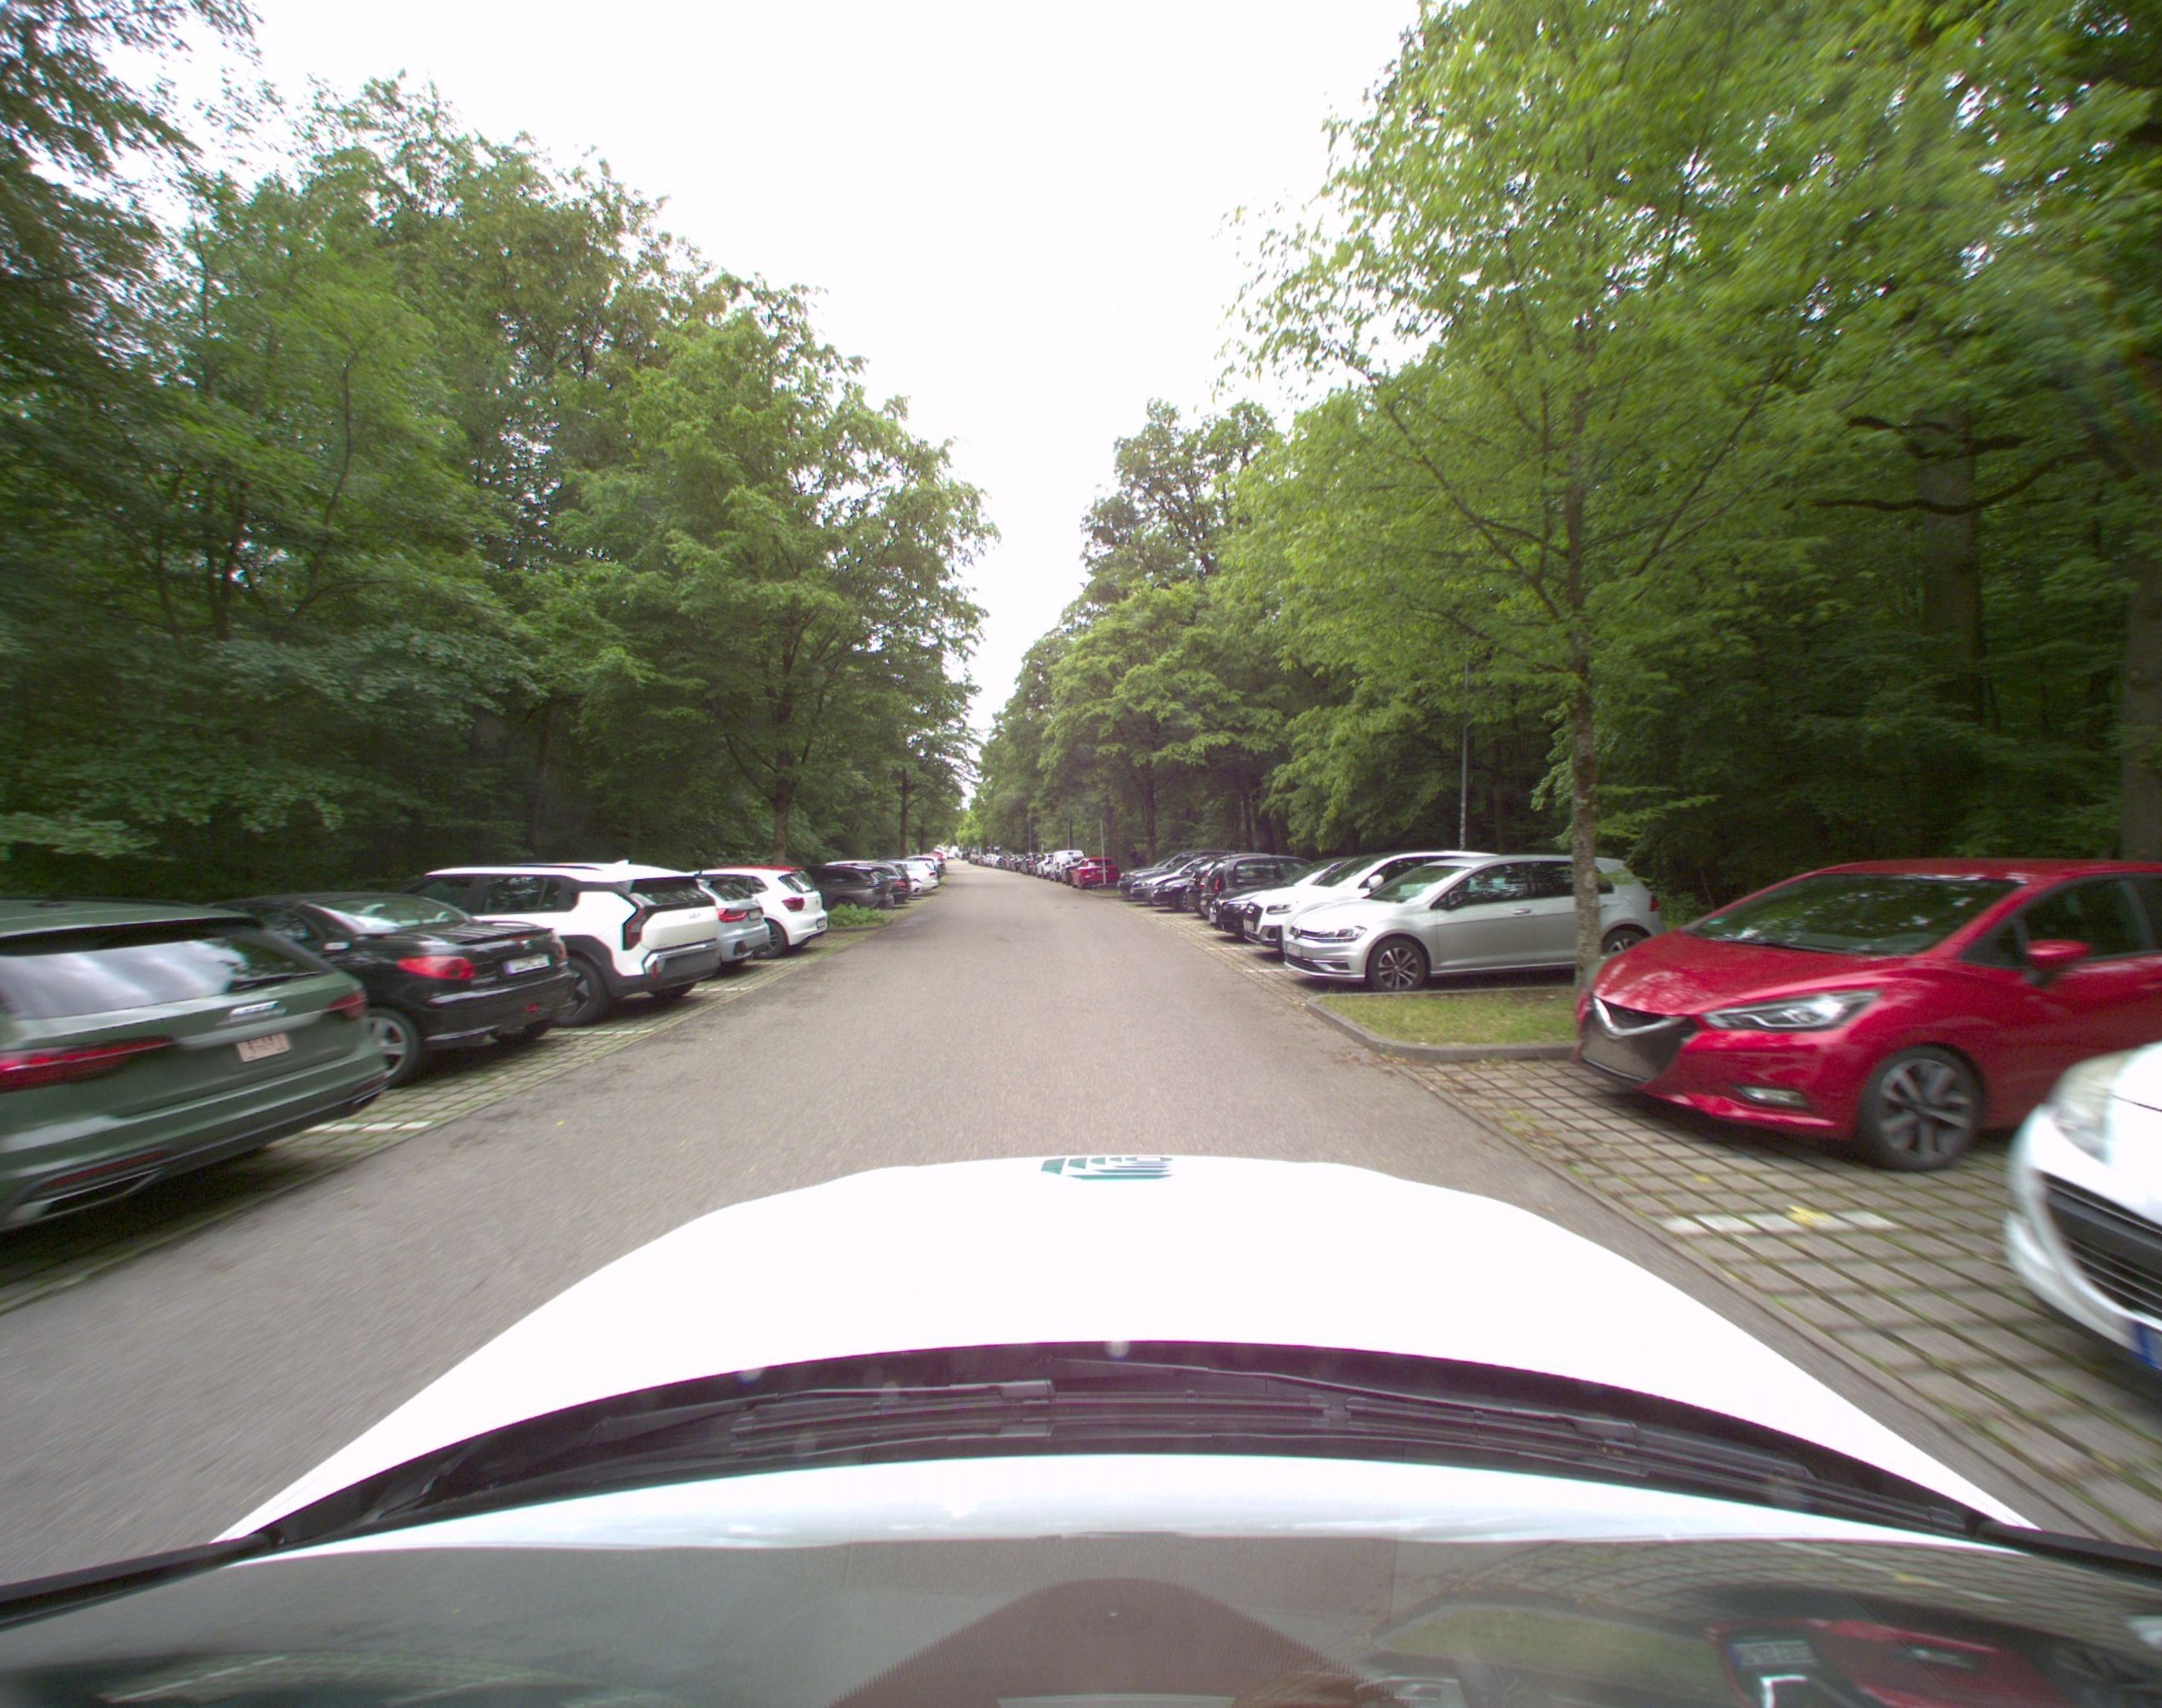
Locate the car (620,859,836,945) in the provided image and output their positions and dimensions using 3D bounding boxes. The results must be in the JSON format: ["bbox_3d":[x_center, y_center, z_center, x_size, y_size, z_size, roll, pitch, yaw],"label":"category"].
[{"bbox_3d":[-6.814,0.893,15.995,3.457,1.481,1.682,-2,0,-4],"label":"car"}]

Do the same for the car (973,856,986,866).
[{"bbox_3d":[-16.127,1.040,129.589,1.921,1.520,3.874,-1,0,-10],"label":"car"}]

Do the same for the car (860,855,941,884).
[{"bbox_3d":[-10.541,0.897,47.969,4.514,1.584,1.921,-1,0,-10],"label":"car"}]

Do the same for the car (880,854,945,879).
[{"bbox_3d":[-11.379,0.846,55.357,4.223,1.633,2.023,0,0,-9],"label":"car"}]

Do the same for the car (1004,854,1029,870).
[{"bbox_3d":[-6.537,0.829,81.911,1.979,1.537,4.604,-1,0,-11],"label":"car"}]

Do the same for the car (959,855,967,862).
[{"bbox_3d":[-26.554,1.022,183.330,1.629,1.415,3.398,0,3,-11],"label":"car"}]

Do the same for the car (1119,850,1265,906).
[{"bbox_3d":[3.332,0.687,24.842,3.989,1.551,1.968,-1,0,-11],"label":"car"}]

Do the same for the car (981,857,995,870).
[{"bbox_3d":[-12.610,1.259,110.360,1.711,1.728,3.986,-1,0,-10],"label":"car"}]

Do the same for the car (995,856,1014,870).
[{"bbox_3d":[-8.676,1.014,92.359,1.668,1.444,3.796,-1,0,-13],"label":"car"}]

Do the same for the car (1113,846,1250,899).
[{"bbox_3d":[3.314,0.597,27.339,4.260,1.666,1.954,-1,0,-6],"label":"car"}]

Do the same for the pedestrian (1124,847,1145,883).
[{"bbox_3d":[2.597,0.517,39.519,0.817,1.726,1.001,0,0,-8],"label":"pedestrian"}]

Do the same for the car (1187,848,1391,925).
[{"bbox_3d":[4.324,0.658,17.311,3.819,1.457,1.806,-1,0,-4],"label":"car"}]

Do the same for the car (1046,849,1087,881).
[{"bbox_3d":[-0.913,0.608,48.222,1.744,1.780,4.536,-1,0,-10],"label":"car"}]

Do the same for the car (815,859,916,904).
[{"bbox_3d":[-7.463,0.920,28.513,3.217,1.444,1.675,-1,0,-9],"label":"car"}]

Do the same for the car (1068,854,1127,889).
[{"bbox_3d":[0.675,0.732,37.407,1.992,1.479,4.958,-1,0,-8],"label":"car"}]

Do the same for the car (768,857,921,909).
[{"bbox_3d":[-7.387,0.893,25.808,4.258,1.486,2.054,-1,0,-5],"label":"car"}]

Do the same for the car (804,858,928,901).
[{"bbox_3d":[-8.044,0.935,30.859,4.366,1.486,1.885,-1,-1,-11],"label":"car"}]

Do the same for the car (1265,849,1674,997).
[{"bbox_3d":[4.385,0.711,9.581,3.970,1.483,1.880,-1,1,-6],"label":"car"}]

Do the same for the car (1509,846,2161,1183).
[{"bbox_3d":[4.869,0.695,4.840,3.794,1.441,1.864,-1,1,-10],"label":"car"}]

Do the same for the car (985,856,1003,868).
[{"bbox_3d":[-11.222,1.005,104.939,1.725,1.494,3.754,-1,0,-16],"label":"car"}]

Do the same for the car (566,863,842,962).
[{"bbox_3d":[-6.165,0.927,13.700,3.718,1.419,1.870,-2,0,-3],"label":"car"}]

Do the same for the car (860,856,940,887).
[{"bbox_3d":[-9.498,0.897,43.079,4.035,1.555,1.913,-1,0,-11],"label":"car"}]

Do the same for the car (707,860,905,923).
[{"bbox_3d":[-6.887,0.908,20.822,4.396,1.424,2.032,-1,0,-4],"label":"car"}]

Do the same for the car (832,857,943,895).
[{"bbox_3d":[-8.450,0.936,35.891,4.560,1.486,1.864,-1,0,-8],"label":"car"}]

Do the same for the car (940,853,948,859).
[{"bbox_3d":[-30.247,0.505,180.003,1.738,1.162,3.401,0,3,-9],"label":"car"}]

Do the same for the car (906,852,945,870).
[{"bbox_3d":[-16.736,0.763,87.424,3.992,1.816,2.105,-1,0,-14],"label":"car"}]

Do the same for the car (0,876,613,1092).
[{"bbox_3d":[-6.194,0.930,6.554,3.780,1.356,1.728,-2,0,-2],"label":"car"}]

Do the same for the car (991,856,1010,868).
[{"bbox_3d":[-9.815,0.983,99.432,1.938,1.475,3.976,-1,0,-12],"label":"car"}]

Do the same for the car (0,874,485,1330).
[{"bbox_3d":[-5.856,0.918,3.726,4.626,1.478,2.094,-2,0,-1],"label":"car"}]

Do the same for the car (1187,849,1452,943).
[{"bbox_3d":[4.171,0.686,14.643,4.181,1.511,1.890,-1,1,-6],"label":"car"}]

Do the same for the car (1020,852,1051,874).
[{"bbox_3d":[-3.725,0.698,65.737,1.890,1.747,4.931,-1,0,-10],"label":"car"}]

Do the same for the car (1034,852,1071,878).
[{"bbox_3d":[-1.963,0.705,54.323,1.786,1.662,4.700,-1,0,-11],"label":"car"}]

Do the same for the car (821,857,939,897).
[{"bbox_3d":[-8.194,0.907,33.564,4.565,1.447,2.077,-1,0,-12],"label":"car"}]

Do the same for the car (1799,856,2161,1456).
[{"bbox_3d":[4.546,0.716,2.034,3.921,1.411,1.877,-1,1,-1],"label":"car"}]

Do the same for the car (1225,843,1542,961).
[{"bbox_3d":[4.324,0.641,12.117,3.997,1.559,1.977,-1,1,-1],"label":"car"}]

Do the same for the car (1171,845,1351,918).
[{"bbox_3d":[4.240,0.618,19.548,3.821,1.531,1.847,-2,0,-5],"label":"car"}]

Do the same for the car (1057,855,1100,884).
[{"bbox_3d":[-0.195,0.782,42.876,1.724,1.422,4.272,-1,0,-8],"label":"car"}]

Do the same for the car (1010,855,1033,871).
[{"bbox_3d":[-5.599,0.829,76.155,1.638,1.477,4.134,-1,0,-12],"label":"car"}]

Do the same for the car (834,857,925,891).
[{"bbox_3d":[-9.949,0.965,40.379,4.240,1.550,1.839,-1,0,-14],"label":"car"}]

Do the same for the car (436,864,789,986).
[{"bbox_3d":[-6.316,0.908,11.428,3.798,1.421,1.893,-2,0,-7],"label":"car"}]

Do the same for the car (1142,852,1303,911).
[{"bbox_3d":[3.775,0.711,22.236,3.980,1.475,1.949,-1,0,-5],"label":"car"}]

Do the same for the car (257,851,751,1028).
[{"bbox_3d":[-5.981,0.838,8.789,3.940,1.628,2.002,-1,0,6],"label":"car"}]
